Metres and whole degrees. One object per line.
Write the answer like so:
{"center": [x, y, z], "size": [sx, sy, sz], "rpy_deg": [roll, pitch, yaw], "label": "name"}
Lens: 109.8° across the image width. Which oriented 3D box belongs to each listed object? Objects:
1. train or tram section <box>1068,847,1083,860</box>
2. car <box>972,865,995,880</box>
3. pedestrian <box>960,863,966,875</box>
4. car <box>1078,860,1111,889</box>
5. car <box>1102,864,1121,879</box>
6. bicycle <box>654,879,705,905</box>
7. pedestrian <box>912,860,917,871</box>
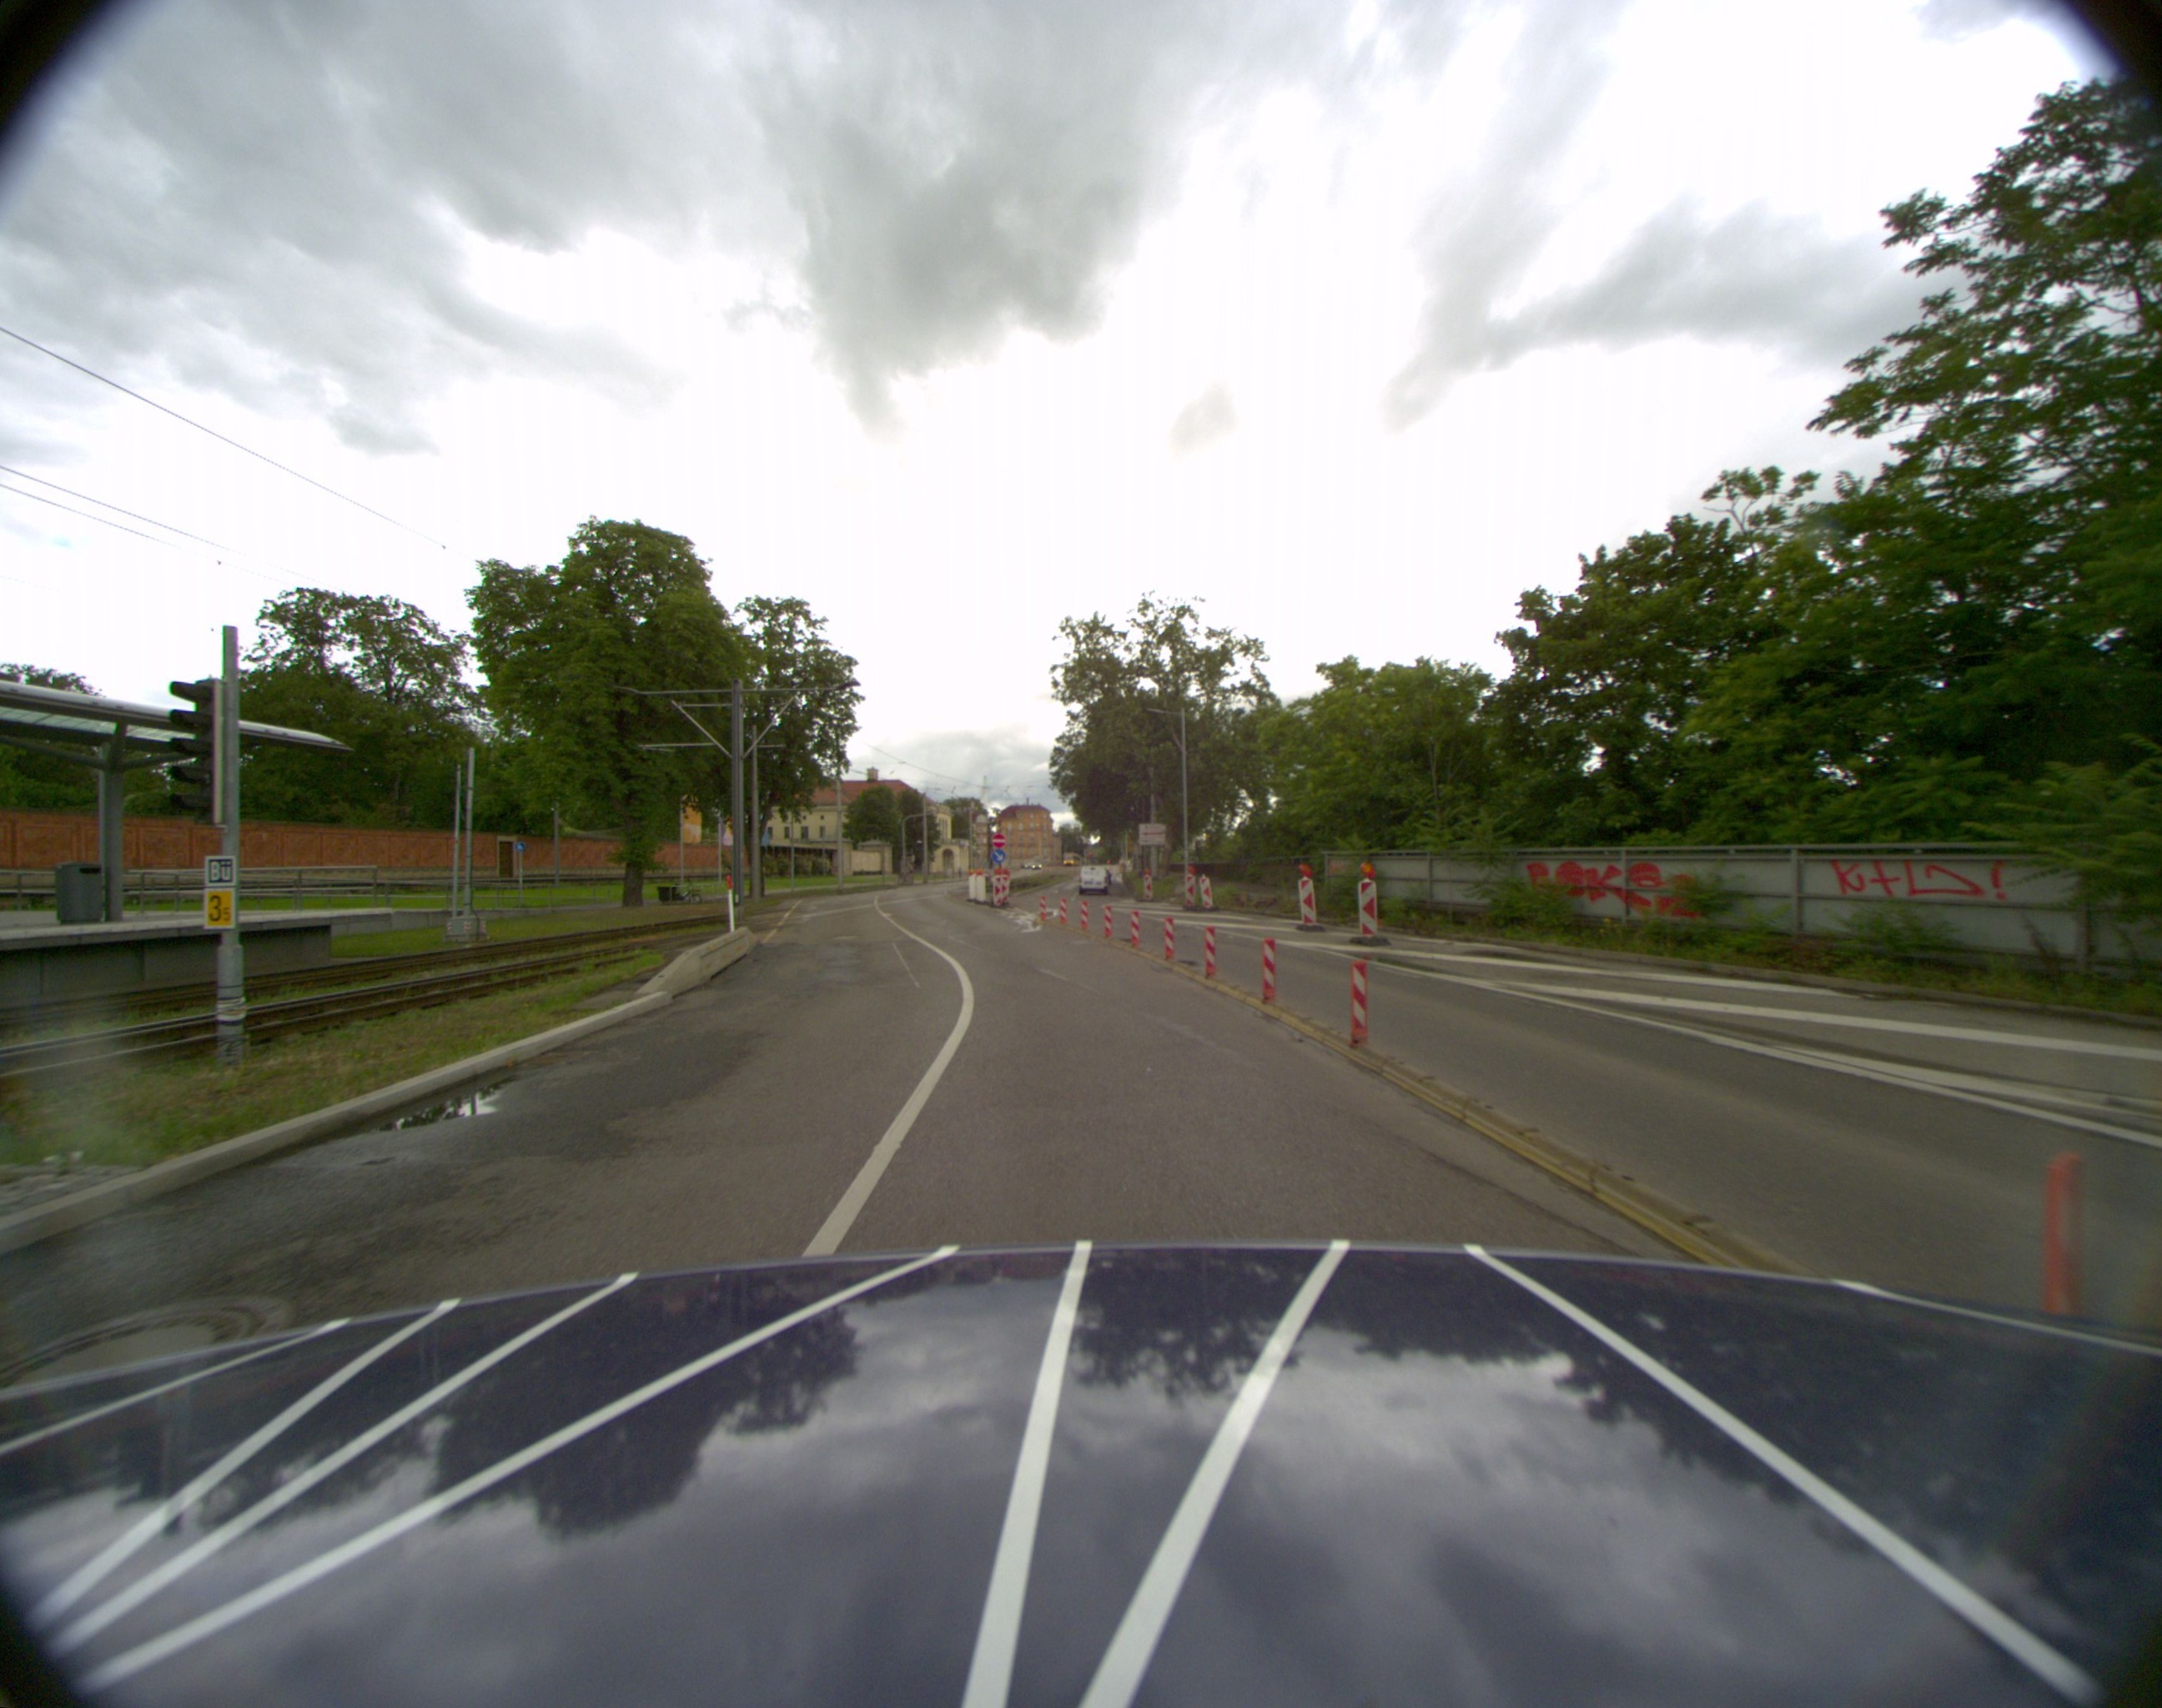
{"center": [-1.429, -0.093, 207.242], "size": [3.739, 3.346, 17.556], "rpy_deg": [0, 0, 1], "label": "train or tram section"}
{"center": [-10.459, 1.974, 81.839], "size": [1.681, 1.433, 4.120], "rpy_deg": [-3, -1, 2], "label": "car"}
{"center": [-18.424, 2.346, 118.812], "size": [0.672, 1.757, 0.937], "rpy_deg": [-1, 0, 2], "label": "pedestrian"}
{"center": [0.837, 1.286, 49.627], "size": [1.868, 1.771, 4.748], "rpy_deg": [-1, 0, -2], "label": "car"}
{"center": [3.011, 1.779, 75.989], "size": [1.699, 1.452, 3.913], "rpy_deg": [0, -2, -1], "label": "car"}
{"center": [-18.467, 1.732, 34.978], "size": [1.995, 1.151, 0.741], "rpy_deg": [-1, 0, 7], "label": "bicycle"}
{"center": [-26.715, 1.900, 121.773], "size": [0.596, 1.782, 0.808], "rpy_deg": [-1, 0, 2], "label": "pedestrian"}
